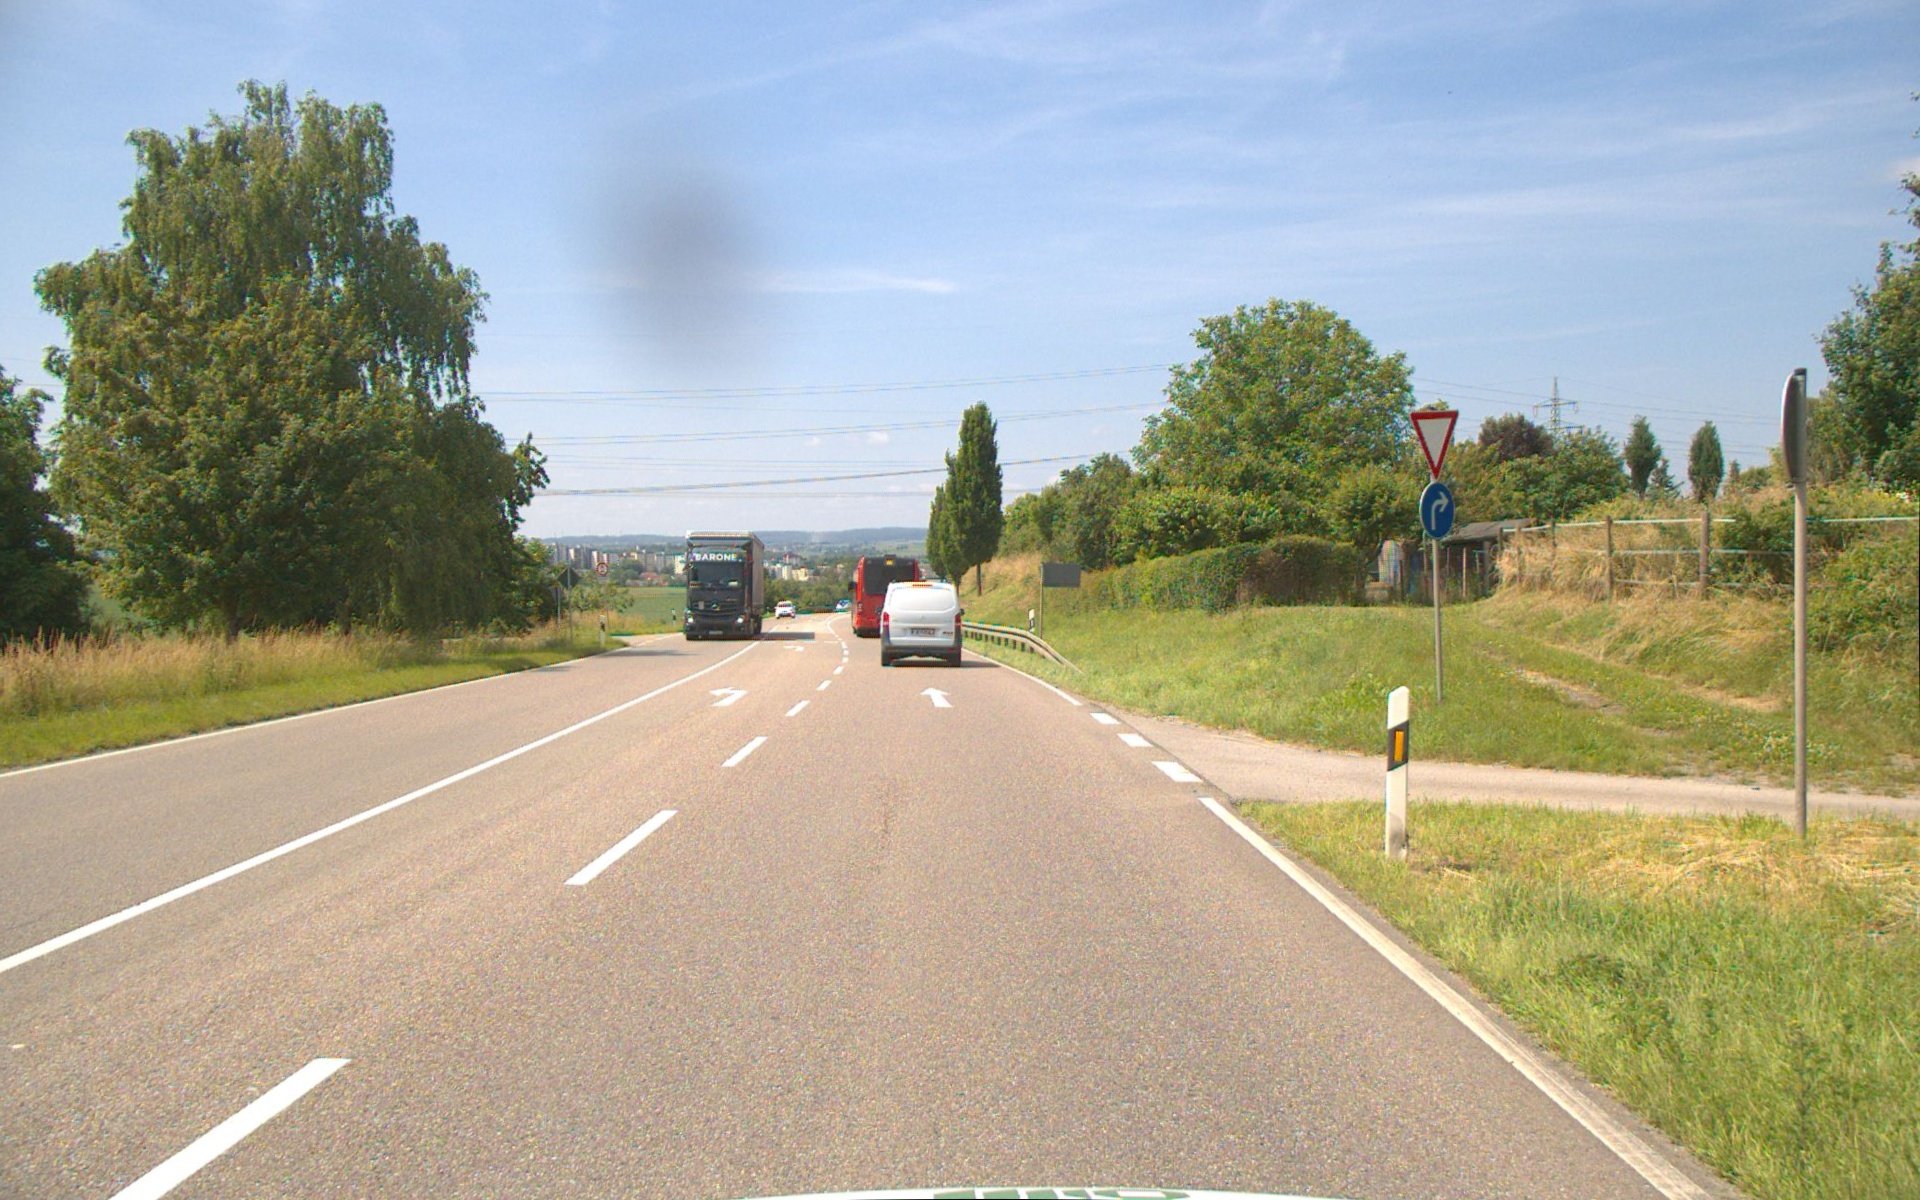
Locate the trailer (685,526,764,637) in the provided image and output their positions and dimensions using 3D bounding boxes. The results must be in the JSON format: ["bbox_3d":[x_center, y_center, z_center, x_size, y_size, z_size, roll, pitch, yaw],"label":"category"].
[{"bbox_3d":[-9.825,-0.706,70.232,2.542,4.215,13.726,0,0,-5],"label":"trailer"}]

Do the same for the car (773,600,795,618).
[{"bbox_3d":[-16.933,0.842,159.535,1.817,1.593,4.072,-2,0,-3],"label":"car"}]

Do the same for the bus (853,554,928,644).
[{"bbox_3d":[-3.189,-0.234,72.446,2.693,3.411,13.211,-3,2,-4],"label":"bus"}]

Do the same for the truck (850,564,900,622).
[{"bbox_3d":[-7.040,-0.619,139.303,3.417,4.500,14.901,-2,0,0],"label":"truck"}]

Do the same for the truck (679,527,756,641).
[{"bbox_3d":[-9.242,-0.578,63.454,2.534,4.176,5.436,0,0,-5],"label":"truck"}]

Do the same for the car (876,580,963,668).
[{"bbox_3d":[-0.924,0.518,38.949,1.884,1.922,3.999,-2,0,-1],"label":"car"}]
